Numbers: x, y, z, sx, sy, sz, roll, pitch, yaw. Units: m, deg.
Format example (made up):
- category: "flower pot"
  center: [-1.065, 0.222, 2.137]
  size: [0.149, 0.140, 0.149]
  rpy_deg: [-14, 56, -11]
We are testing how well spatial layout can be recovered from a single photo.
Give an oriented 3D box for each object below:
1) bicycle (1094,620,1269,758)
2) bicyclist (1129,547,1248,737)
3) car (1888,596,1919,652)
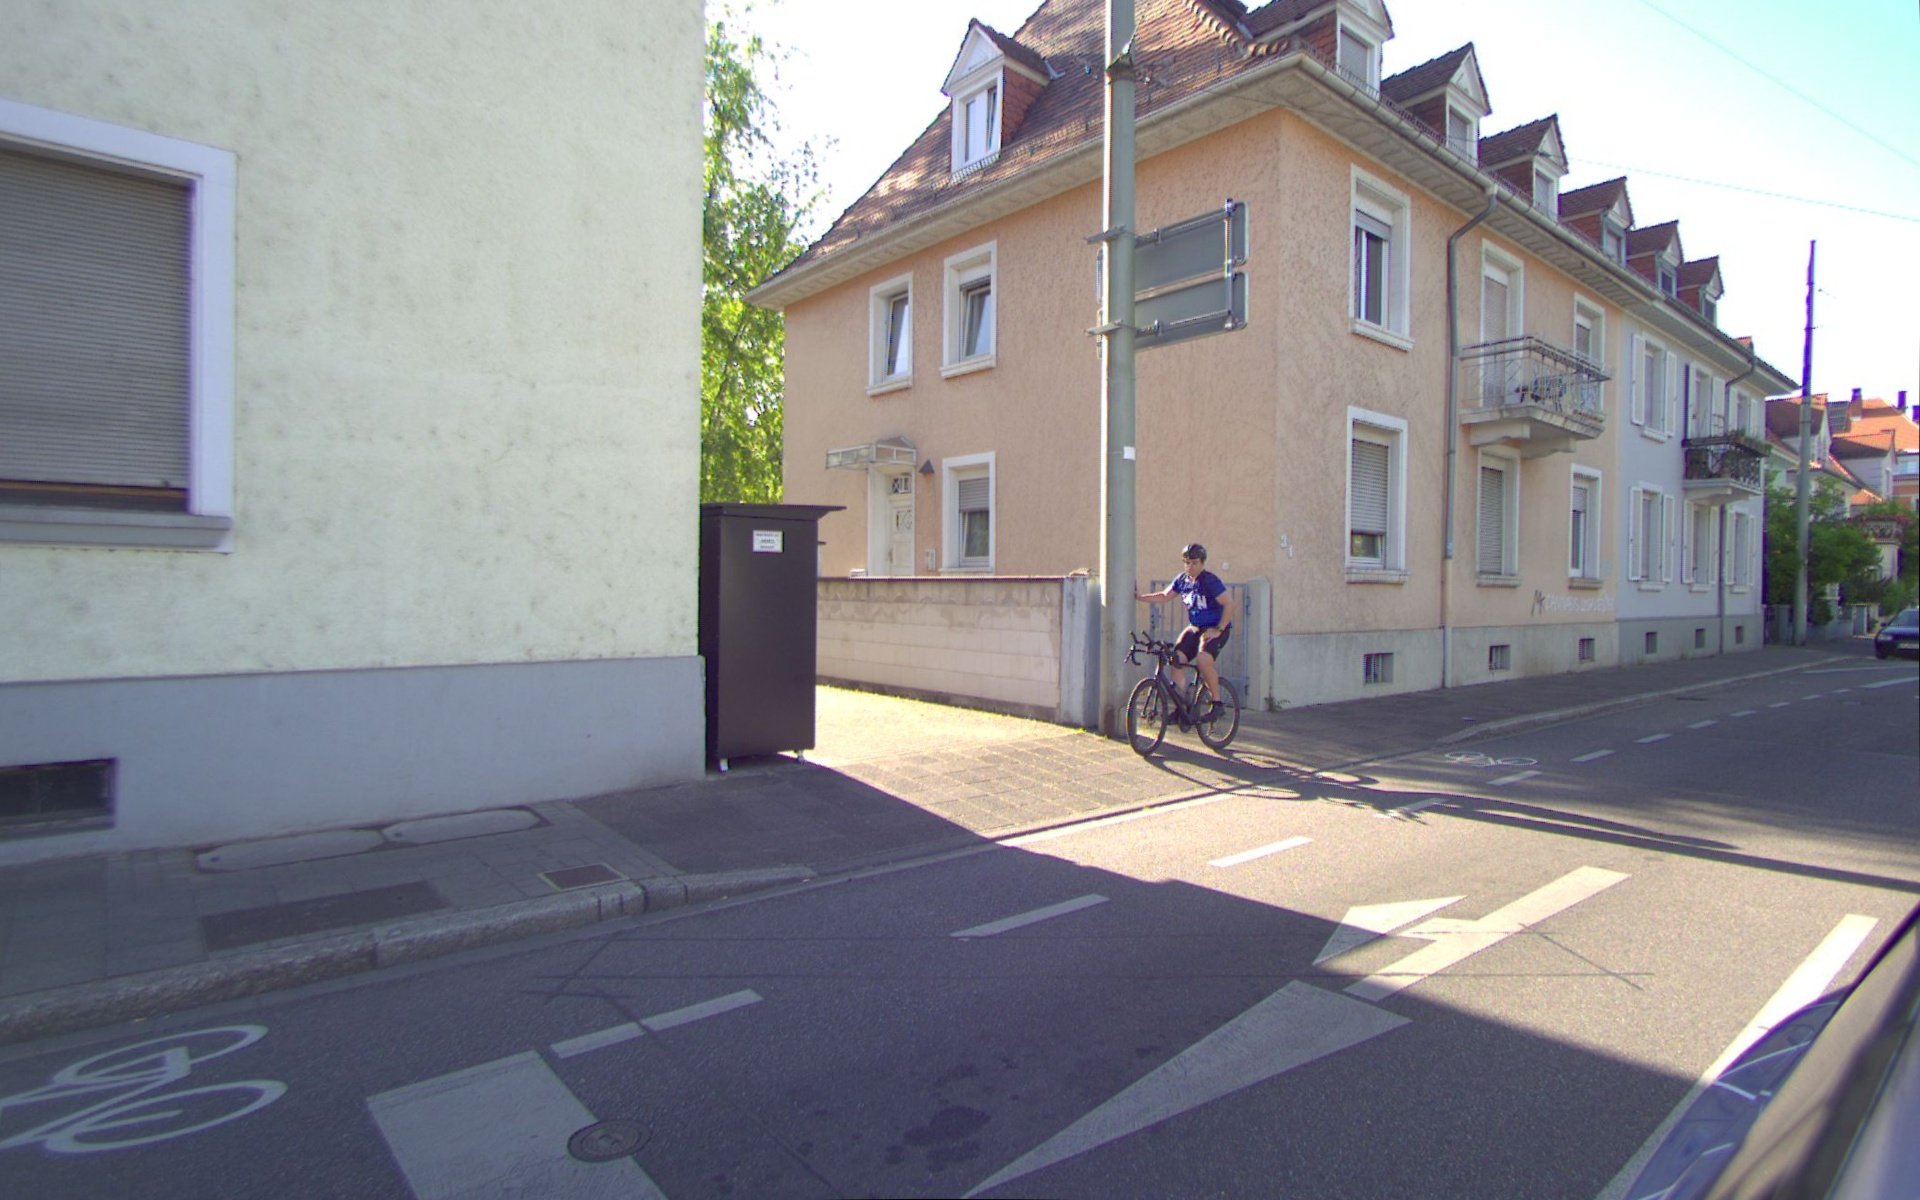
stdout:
- category: "bicycle"
  center: [2.065, 0.764, 9.311]
  size: [1.763, 1.074, 0.551]
  rpy_deg: [0, 6, -41]
- category: "bicyclist"
  center: [2.103, 0.354, 9.277]
  size: [0.998, 1.637, 0.562]
  rpy_deg: [0, 1, -40]
- category: "car"
  center: [26.711, 0.626, 27.395]
  size: [4.347, 1.425, 1.866]
  rpy_deg: [0, 1, -41]
